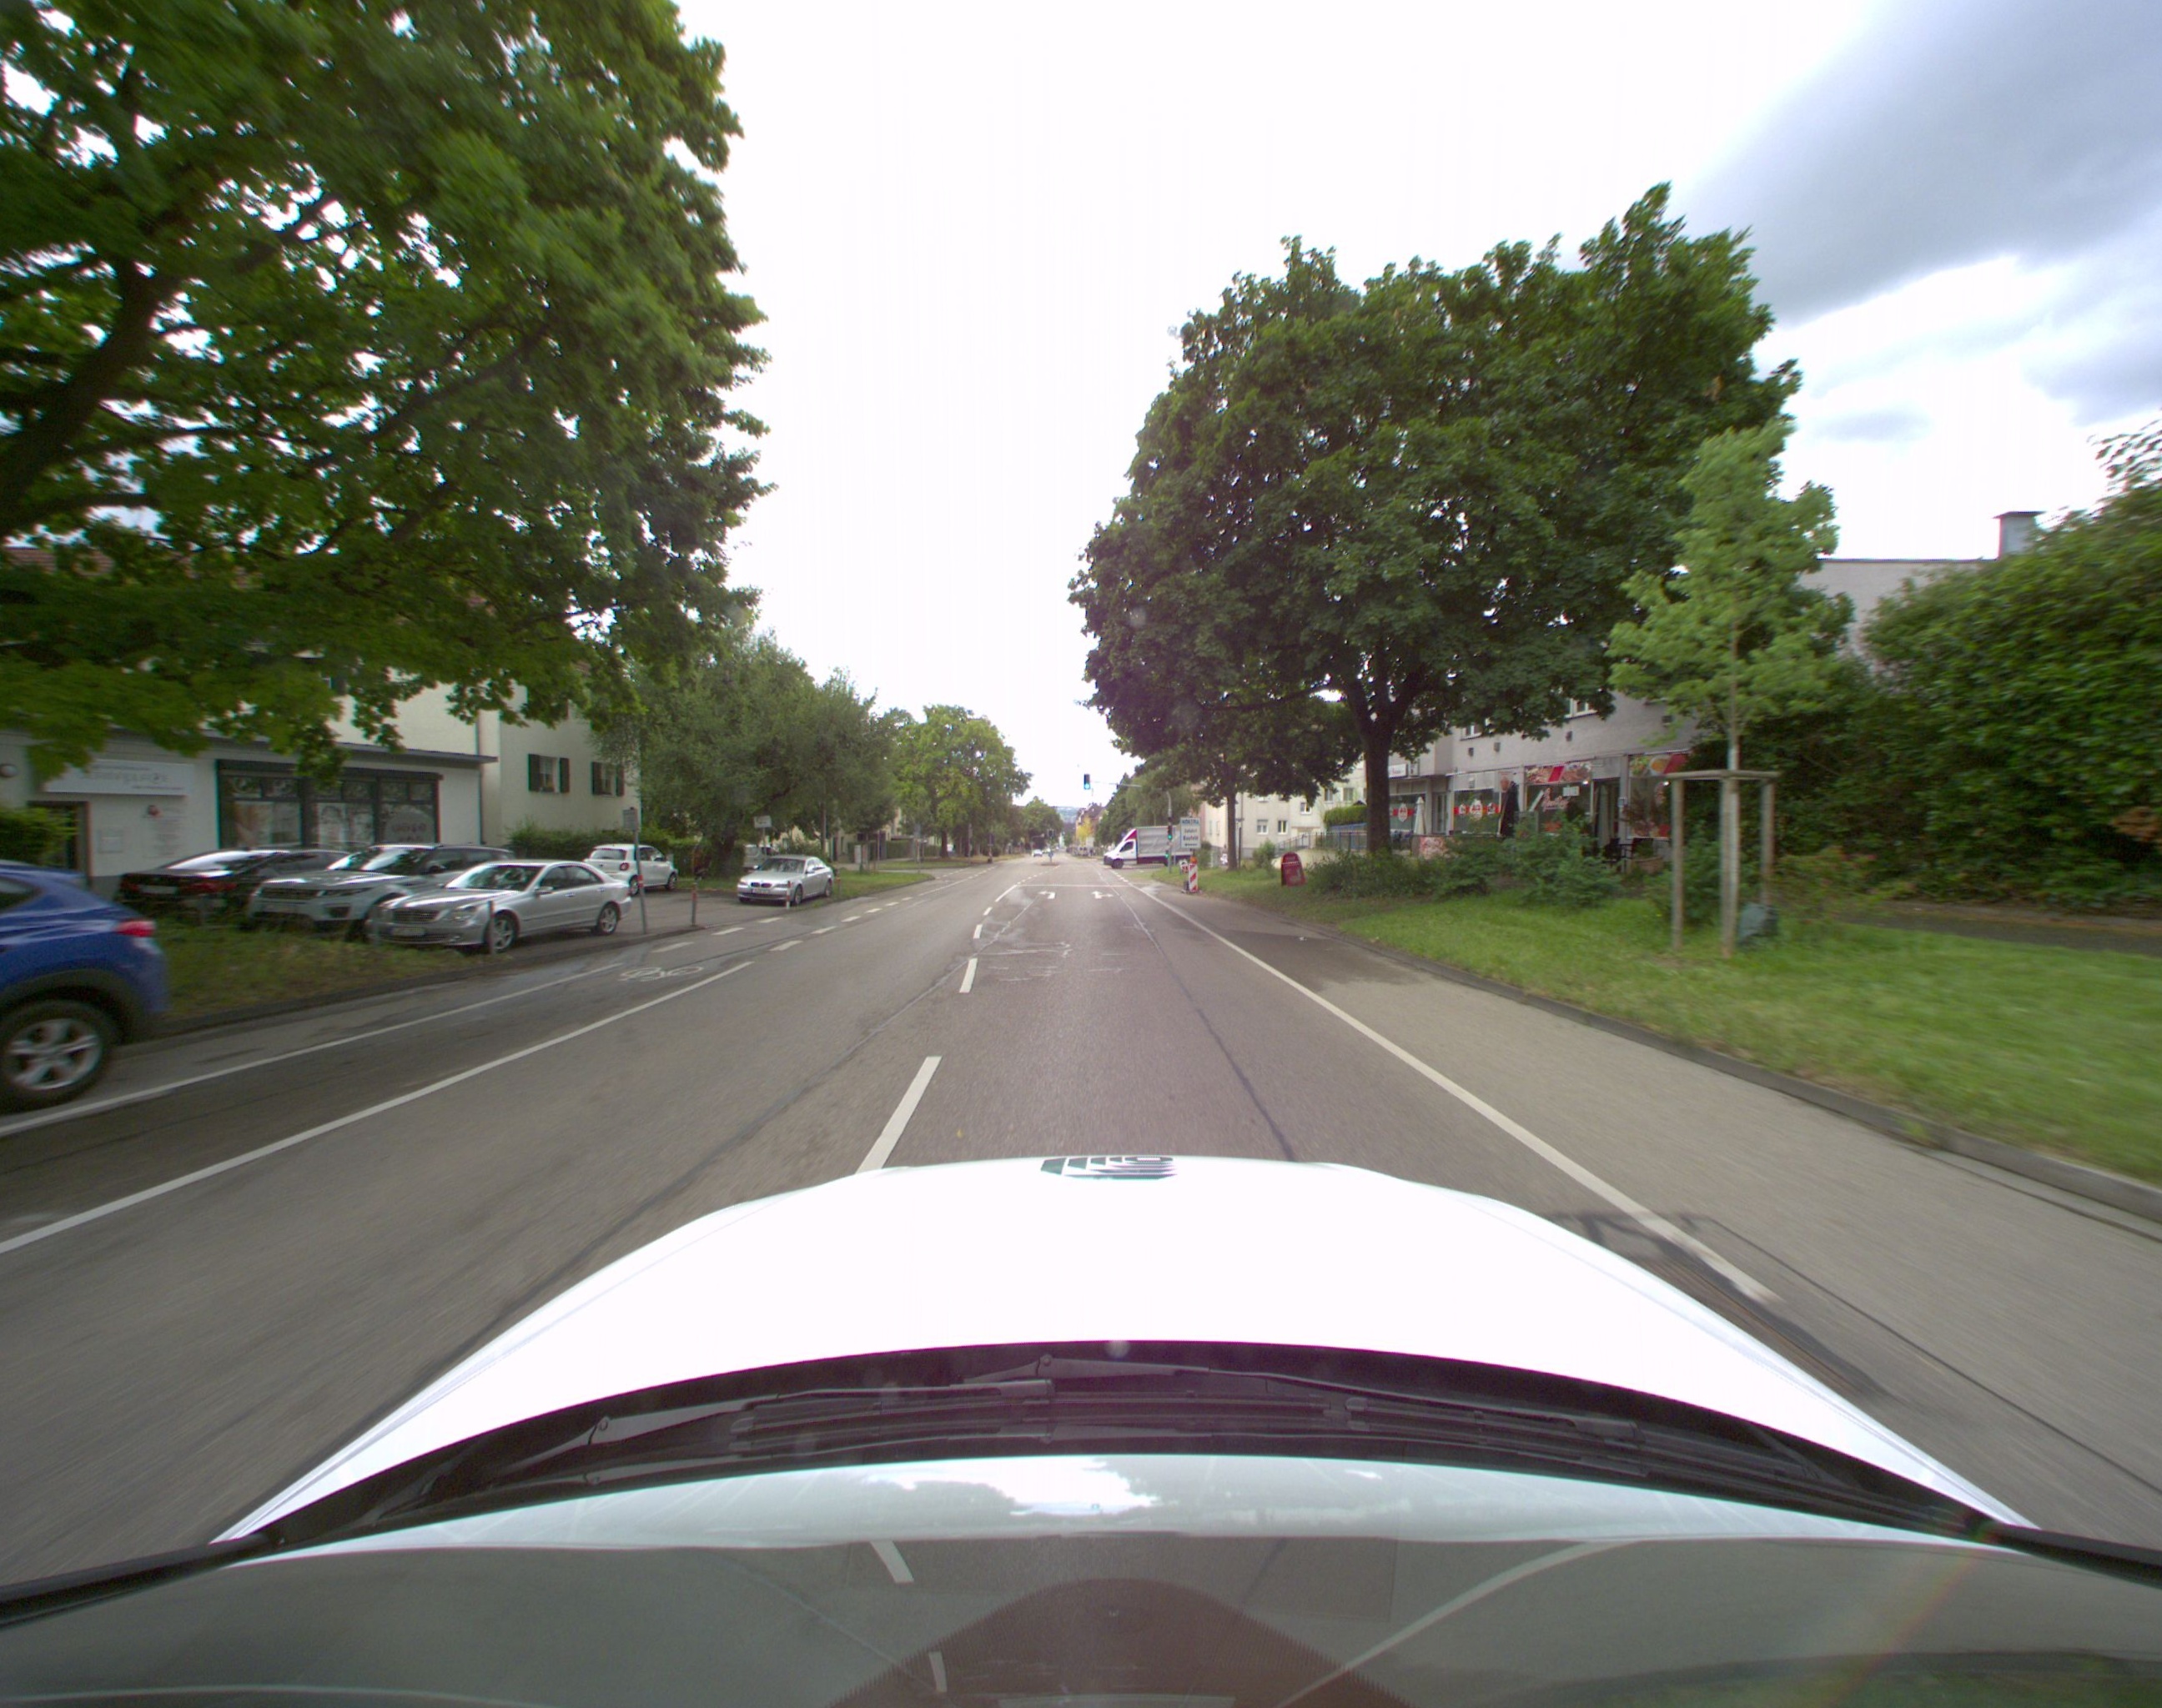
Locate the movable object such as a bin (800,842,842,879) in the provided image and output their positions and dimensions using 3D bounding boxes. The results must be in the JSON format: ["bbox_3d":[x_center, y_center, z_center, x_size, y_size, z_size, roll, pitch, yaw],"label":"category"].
[{"bbox_3d":[-13.692,0.340,43.034,1.213,1.903,3.024,0,0,0],"label":"movable object such as a bin"}]

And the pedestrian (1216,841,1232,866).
[{"bbox_3d":[10.771,-0.048,61.373,0.749,1.855,0.950,-3,1,-16],"label":"pedestrian"}]

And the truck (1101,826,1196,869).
[{"bbox_3d":[5.245,-0.540,64.304,7.214,3.307,2.536,0,0,-5],"label":"truck"}]

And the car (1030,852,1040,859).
[{"bbox_3d":[-9.775,0.314,173.750,1.988,1.505,3.997,0,0,-2],"label":"car"}]

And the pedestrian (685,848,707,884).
[{"bbox_3d":[-17.698,0.538,37.482,0.628,1.613,0.829,0,0,-3],"label":"pedestrian"}]

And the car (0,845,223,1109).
[{"bbox_3d":[-7.525,0.776,4.010,1.709,1.612,4.536,0,1,1],"label":"car"}]

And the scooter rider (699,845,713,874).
[{"bbox_3d":[-16.722,0.254,36.273,0.349,1.276,0.559,0,0,0],"label":"scooter rider"}]

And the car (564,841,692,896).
[{"bbox_3d":[-14.555,0.436,26.474,1.756,1.633,4.287,0,0,-1],"label":"car"}]

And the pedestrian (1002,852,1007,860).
[{"bbox_3d":[-15.252,0.354,162.520,0.947,1.650,1.040,0,0,-8],"label":"pedestrian"}]

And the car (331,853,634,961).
[{"bbox_3d":[-9.761,0.758,13.836,1.754,1.535,4.394,0,0,2],"label":"car"}]

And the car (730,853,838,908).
[{"bbox_3d":[-9.613,0.790,26.823,1.755,1.633,4.753,0,0,0],"label":"car"}]

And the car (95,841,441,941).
[{"bbox_3d":[-14.351,0.569,14.843,1.756,1.470,4.440,3,0,0],"label":"car"}]

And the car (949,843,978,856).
[{"bbox_3d":[-14.712,-0.559,101.964,3.441,1.596,1.998,0,0,-3],"label":"car"}]

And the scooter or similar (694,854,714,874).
[{"bbox_3d":[-16.720,0.443,36.170,0.324,0.843,1.201,0,0,0],"label":"scooter or similar"}]

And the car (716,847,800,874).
[{"bbox_3d":[-22.217,0.427,56.126,4.981,1.813,1.998,0,0,-3],"label":"car"}]

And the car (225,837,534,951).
[{"bbox_3d":[-11.907,0.596,14.251,1.754,1.633,4.002,3,0,2],"label":"car"}]

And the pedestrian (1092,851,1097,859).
[{"bbox_3d":[3.017,0.173,180.062,1.196,1.810,1.301,0,0,-1],"label":"pedestrian"}]
